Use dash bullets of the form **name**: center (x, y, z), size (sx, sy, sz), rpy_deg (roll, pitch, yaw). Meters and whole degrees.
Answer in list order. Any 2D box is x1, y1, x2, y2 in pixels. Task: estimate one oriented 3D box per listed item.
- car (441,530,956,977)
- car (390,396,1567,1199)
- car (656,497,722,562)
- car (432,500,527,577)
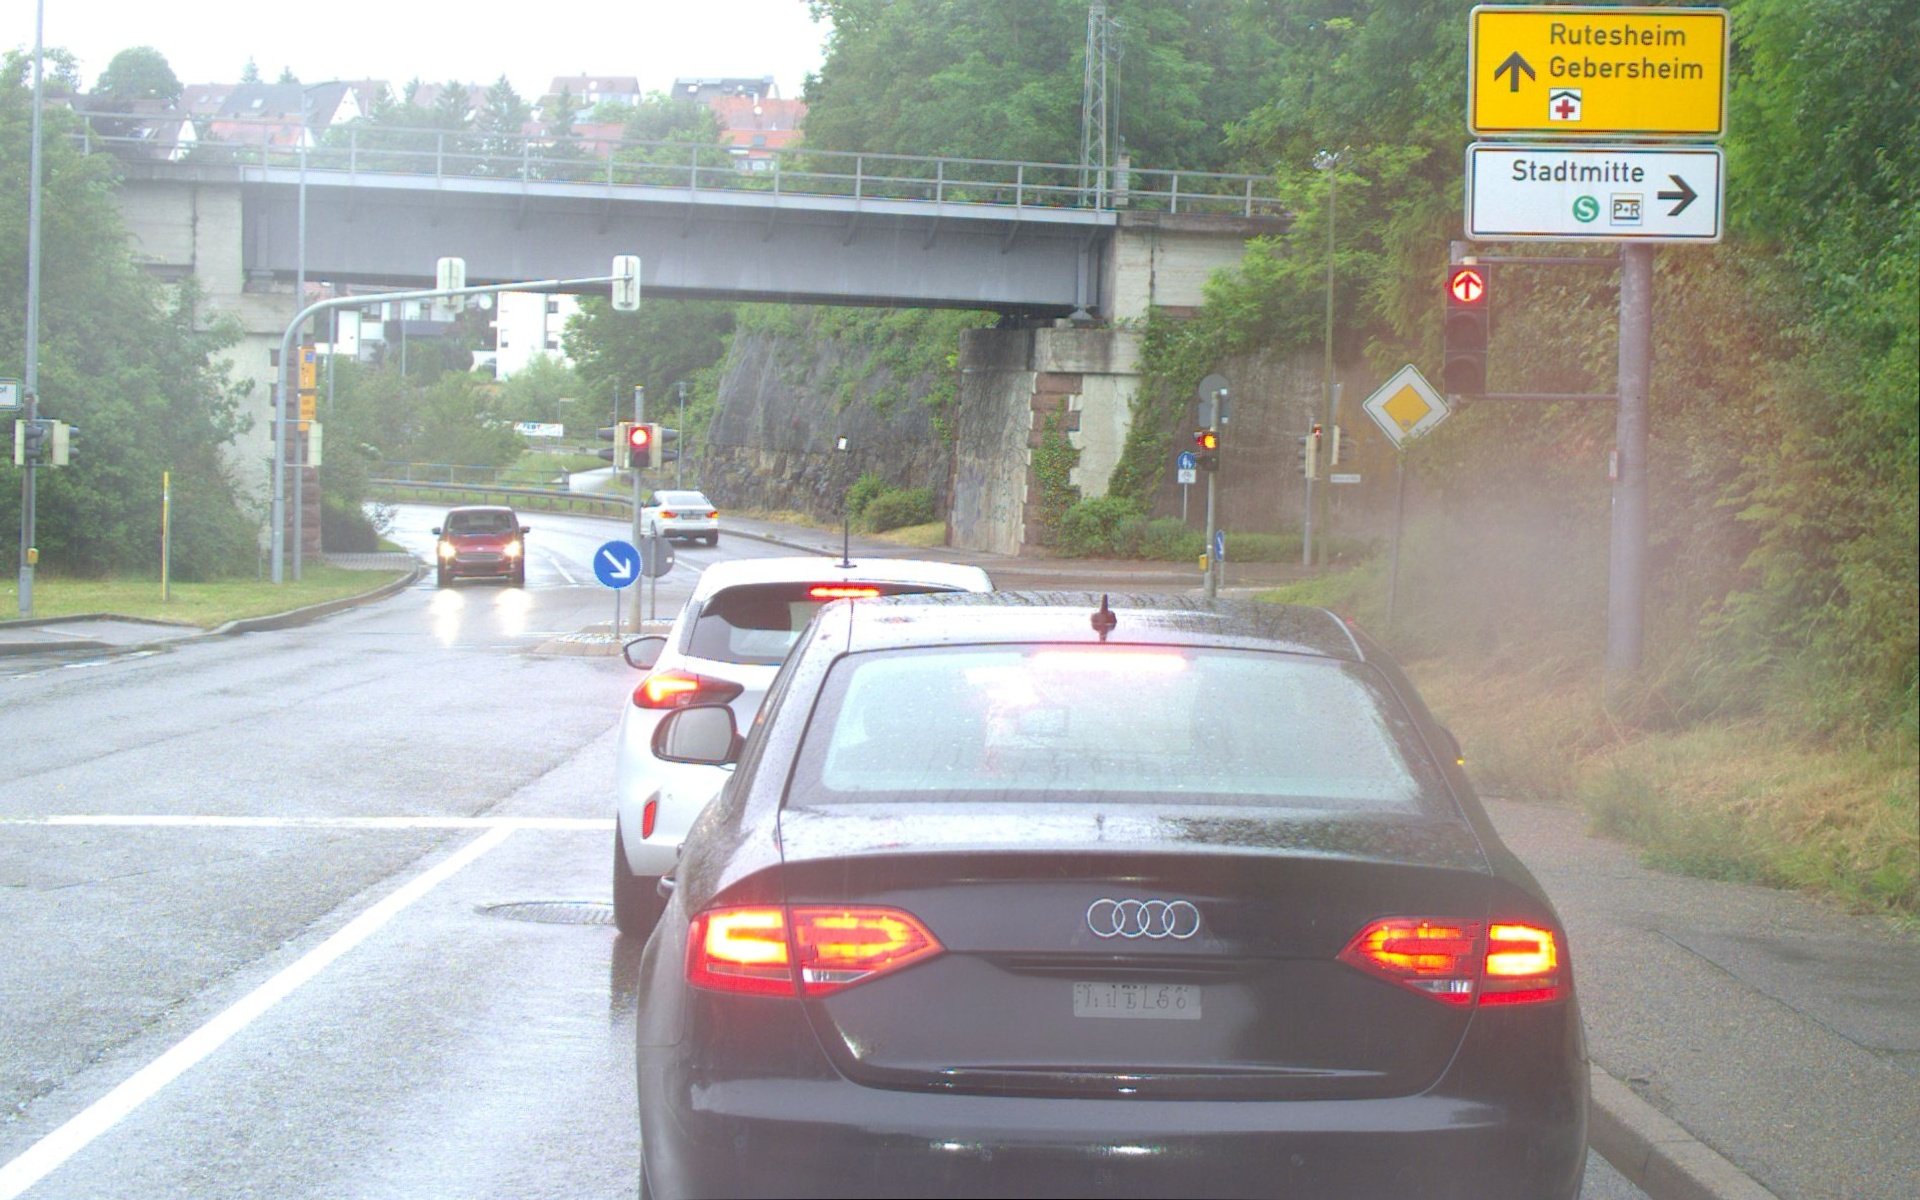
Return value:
- **car**: center (-0.958, 0.548, 14.257), size (1.823, 1.579, 4.000), rpy_deg (1, 0, -1)
- **car**: center (0.000, 0.459, 7.535), size (1.870, 1.611, 4.000), rpy_deg (1, 1, -1)
- **car**: center (-7.713, -1.977, 97.595), size (1.804, 1.736, 4.481), rpy_deg (1, 0, -5)
- **car**: center (-10.474, -1.351, 75.039), size (1.993, 1.622, 4.001), rpy_deg (0, 1, -7)
